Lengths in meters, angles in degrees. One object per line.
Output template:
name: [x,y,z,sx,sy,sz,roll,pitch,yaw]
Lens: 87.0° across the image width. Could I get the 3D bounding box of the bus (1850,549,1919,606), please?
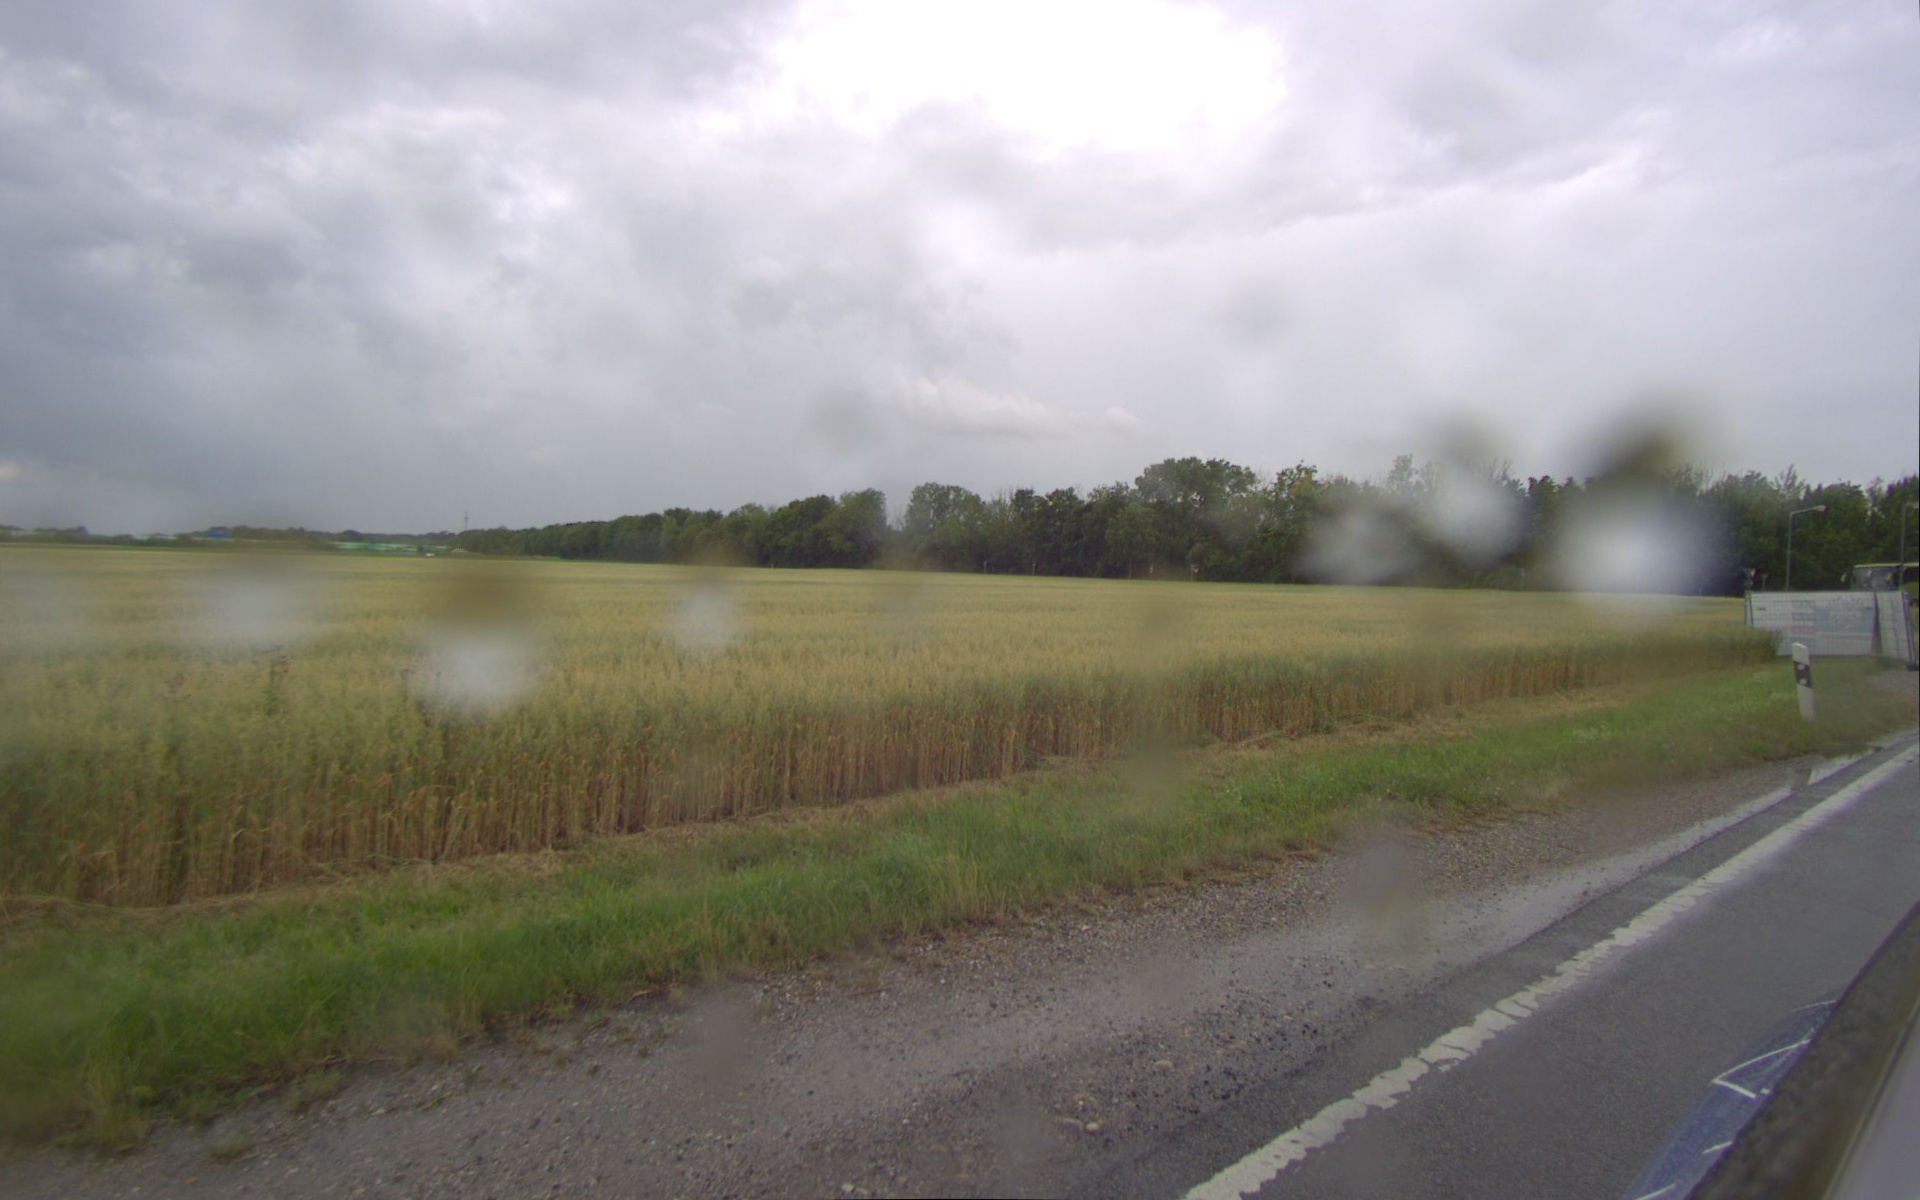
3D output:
bus: [68.633,-1.448,70.261,13.993,3.731,3.006,1,2,-16]
